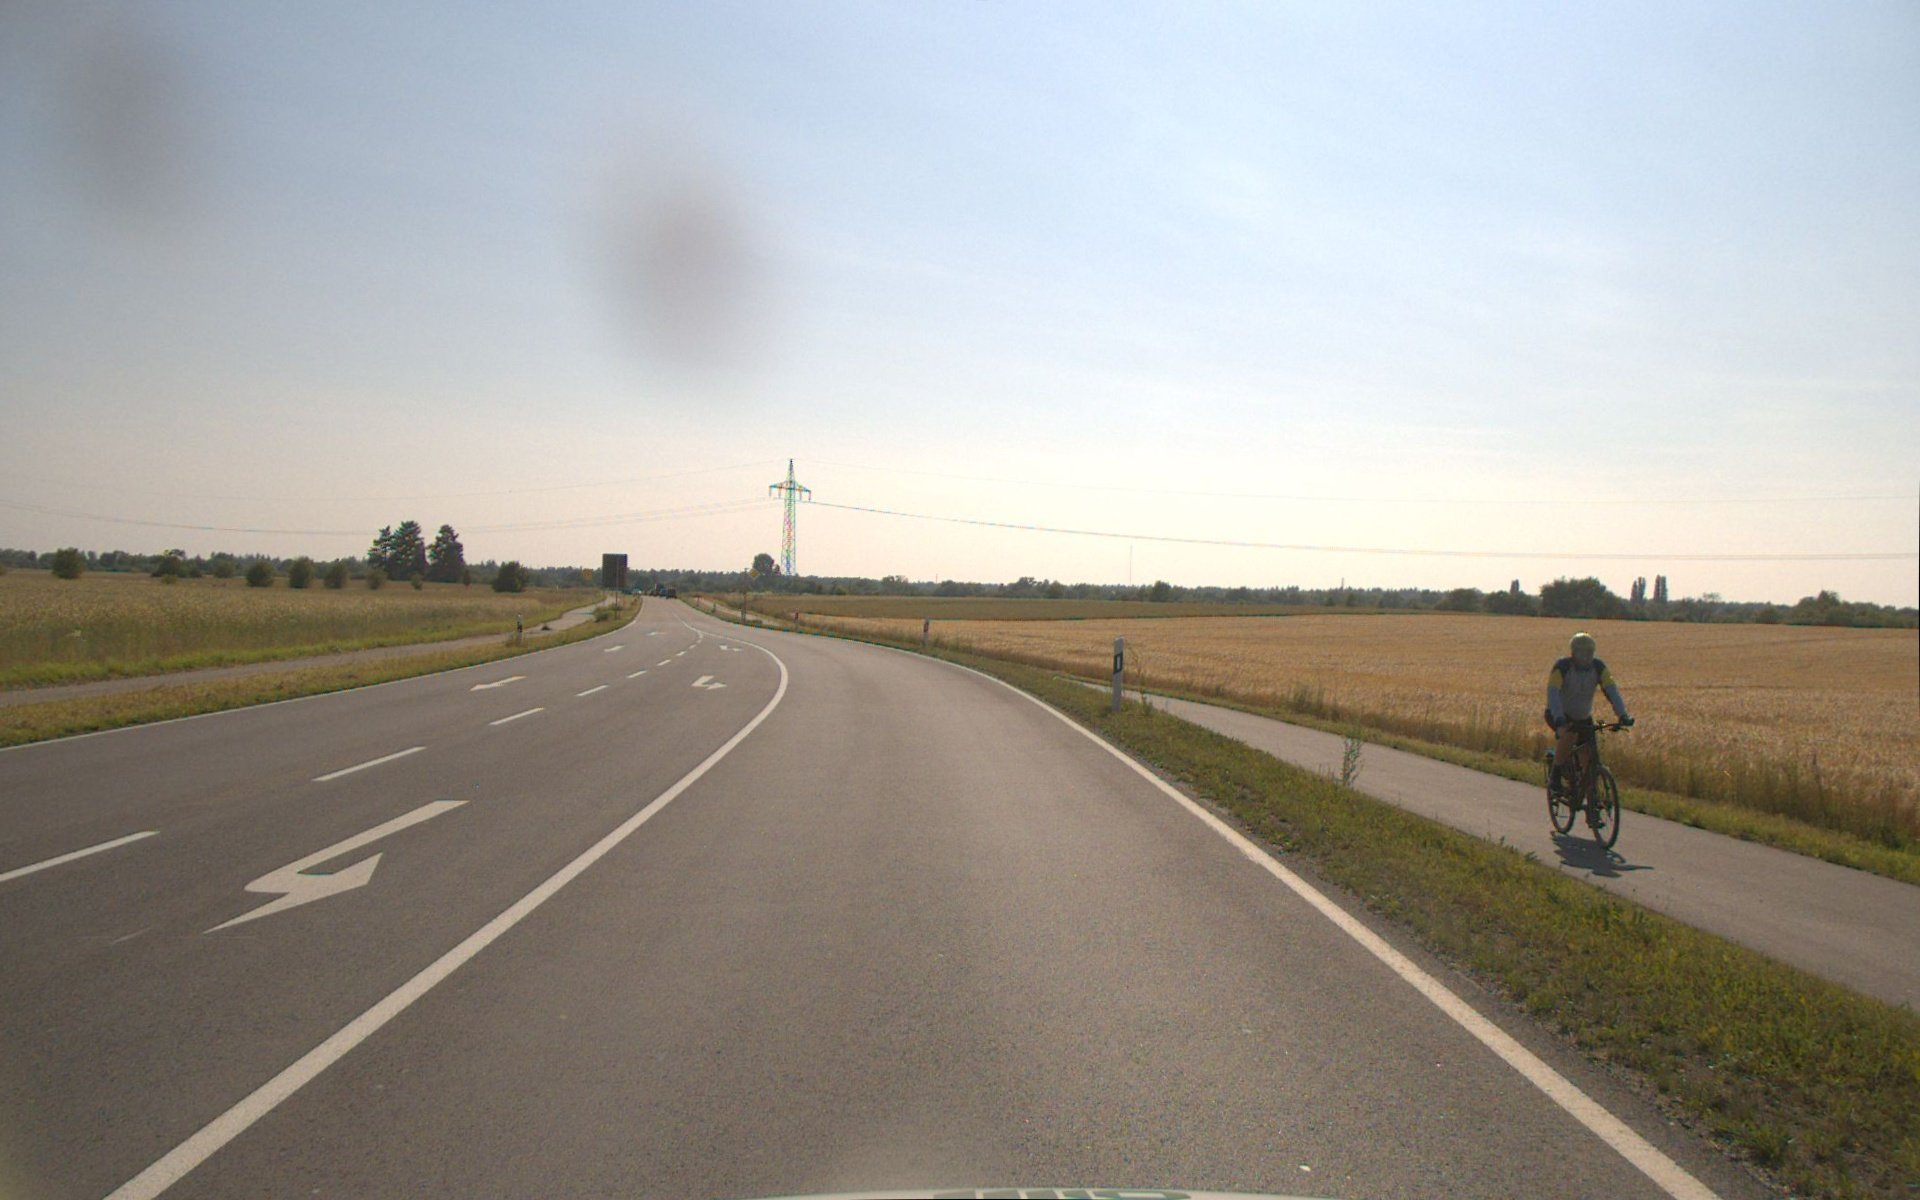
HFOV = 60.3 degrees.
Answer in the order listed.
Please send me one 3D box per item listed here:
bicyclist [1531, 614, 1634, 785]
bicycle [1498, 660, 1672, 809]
[{"bbox_3d":[5.678,0.890,15.126,0.624,1.482,0.817,3,-1,5],"label":"bicyclist"},{"bbox_3d":[5.675,1.182,15.166,0.827,1.162,2.207,3,-1,3],"label":"bicycle"}]
